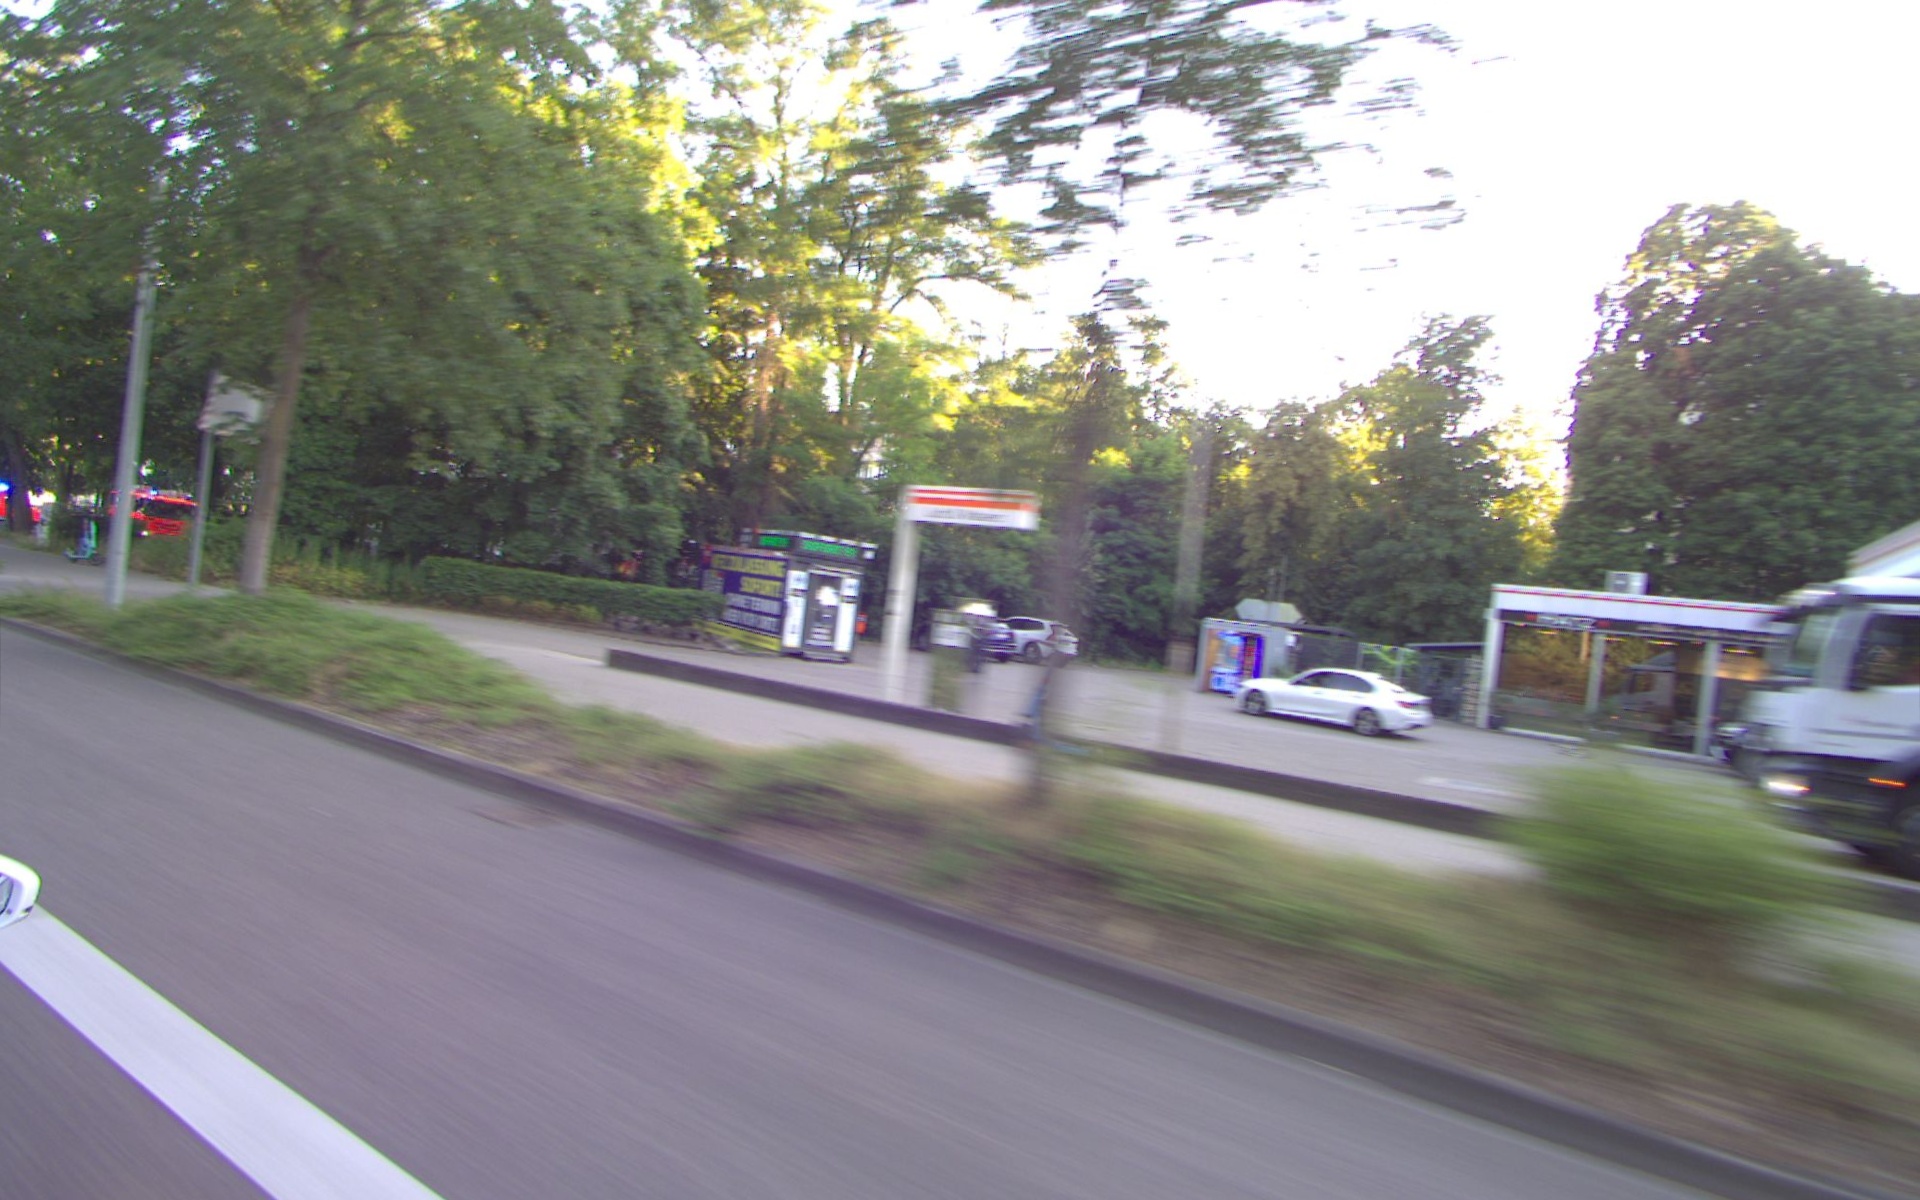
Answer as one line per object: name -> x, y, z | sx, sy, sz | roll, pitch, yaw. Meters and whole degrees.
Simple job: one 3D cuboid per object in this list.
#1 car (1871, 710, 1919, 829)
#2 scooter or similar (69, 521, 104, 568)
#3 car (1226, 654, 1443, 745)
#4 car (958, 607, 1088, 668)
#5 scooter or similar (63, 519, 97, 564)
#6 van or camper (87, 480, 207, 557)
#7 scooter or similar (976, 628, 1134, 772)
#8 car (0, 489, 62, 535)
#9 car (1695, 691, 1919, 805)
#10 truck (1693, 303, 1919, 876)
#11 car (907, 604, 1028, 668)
car -> 17.956, 3.007, 16.099 | 4.600, 1.888, 1.873 | 5, -1, 32
scooter or similar -> -21.587, -1.379, 24.848 | 0.964, 1.054, 0.310 | 7, 0, 32
car -> 9.252, 2.404, 25.113 | 4.632, 1.538, 1.782 | 6, 1, 41
car -> 2.268, 1.379, 37.377 | 1.911, 1.729, 4.639 | 4, 1, -44
scooter or similar -> -22.636, -1.513, 25.878 | 0.964, 1.054, 0.310 | 7, 0, 32
van or camper -> -43.395, -4.386, 53.603 | 8.118, 3.235, 3.436 | 6, -3, 42
scooter or similar -> 1.007, 1.039, 10.768 | 1.444, 1.298, 0.598 | 6, 0, 32
car -> -49.047, -4.671, 51.020 | 1.894, 2.014, 4.908 | 6, -1, 39
car -> 19.785, 3.324, 22.249 | 5.411, 1.888, 1.950 | 6, 0, 32
truck -> 12.657, 0.344, 9.585 | 8.264, 5.520, 3.040 | 7, -1, 28
car -> 0.192, 1.219, 35.319 | 1.877, 1.659, 4.239 | 5, 3, -38
